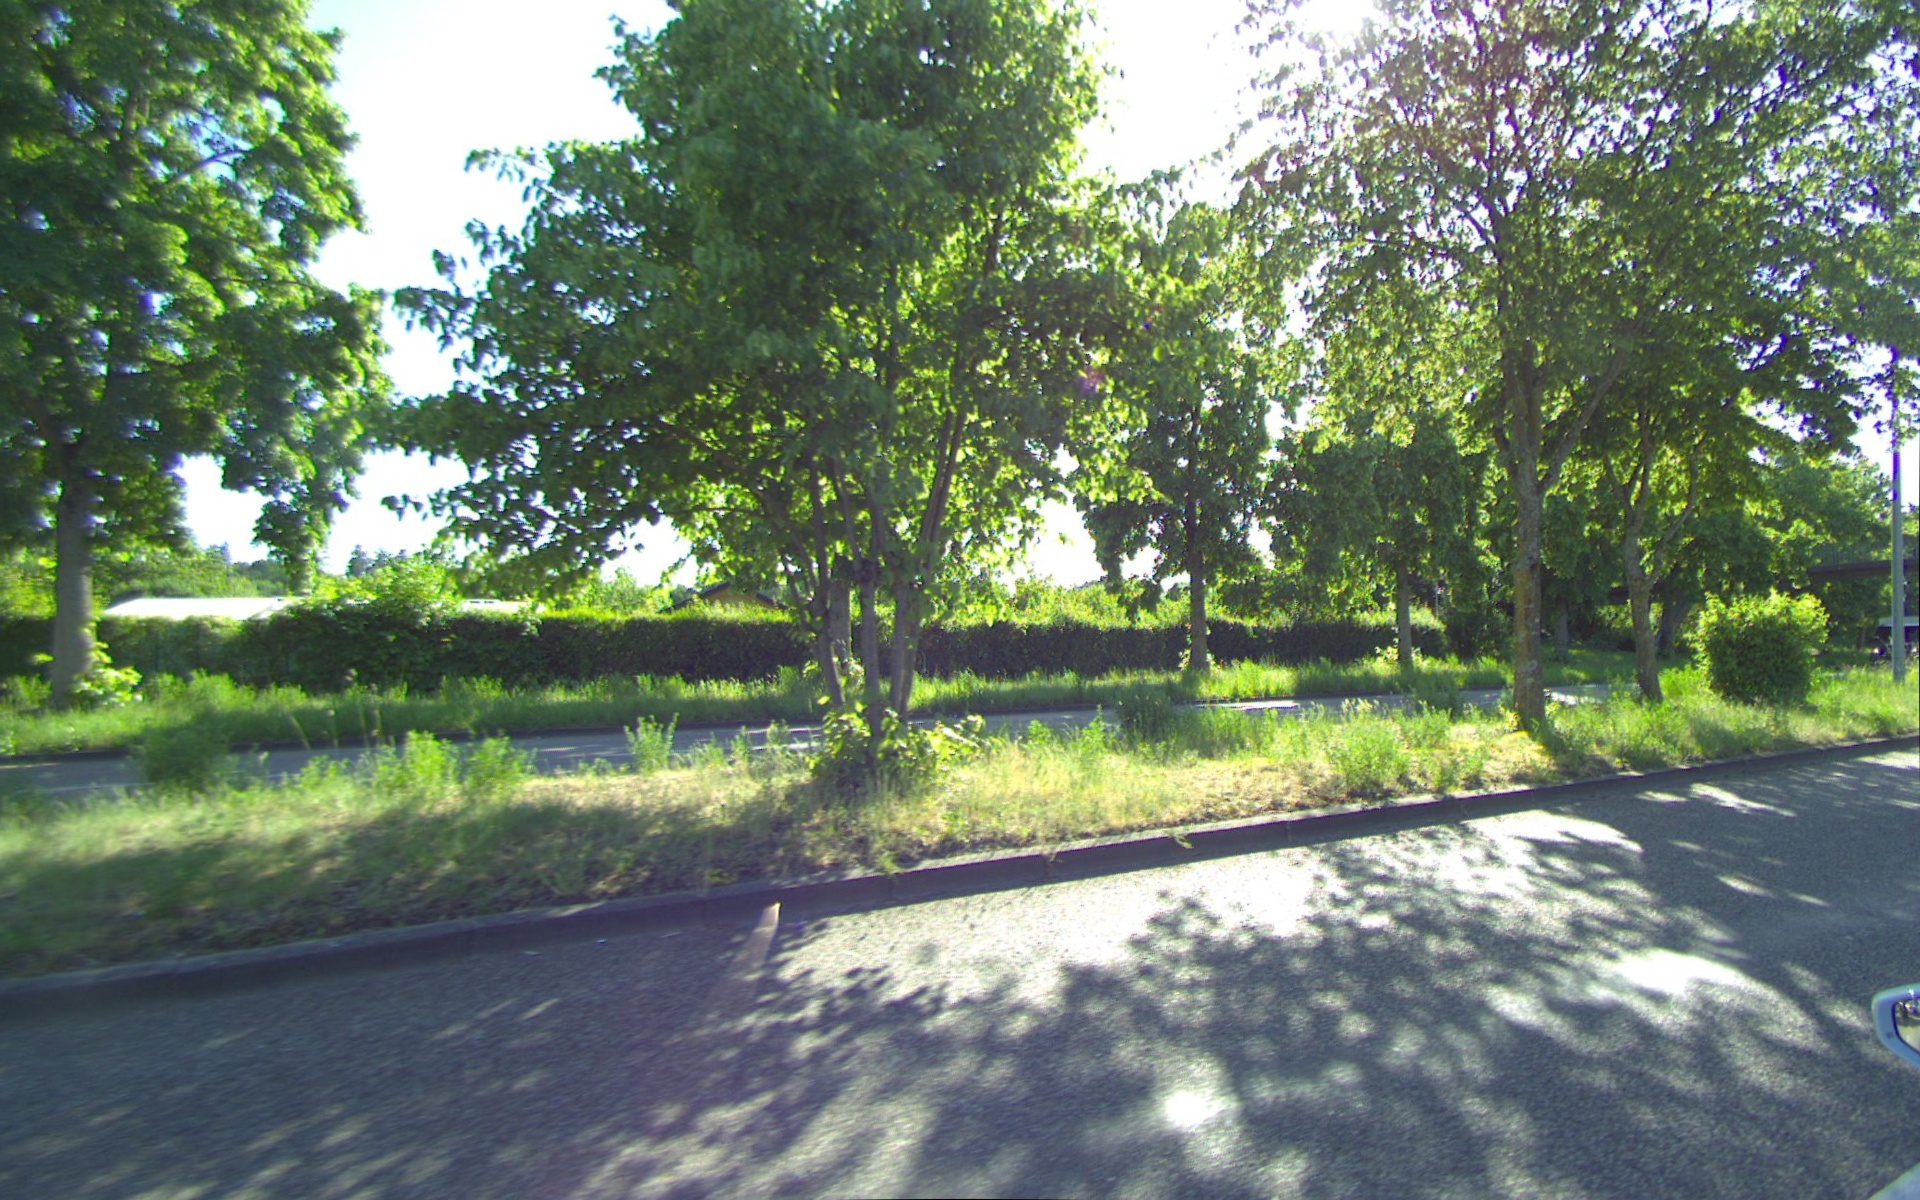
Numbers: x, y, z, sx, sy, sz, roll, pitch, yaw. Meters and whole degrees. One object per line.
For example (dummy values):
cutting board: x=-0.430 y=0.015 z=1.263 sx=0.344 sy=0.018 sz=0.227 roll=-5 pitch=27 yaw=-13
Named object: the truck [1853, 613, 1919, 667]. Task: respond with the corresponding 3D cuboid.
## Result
truck: x=46.436 y=1.996 z=49.596 sx=5.683 sy=2.545 sz=2.159 roll=1 pitch=-4 yaw=-35
